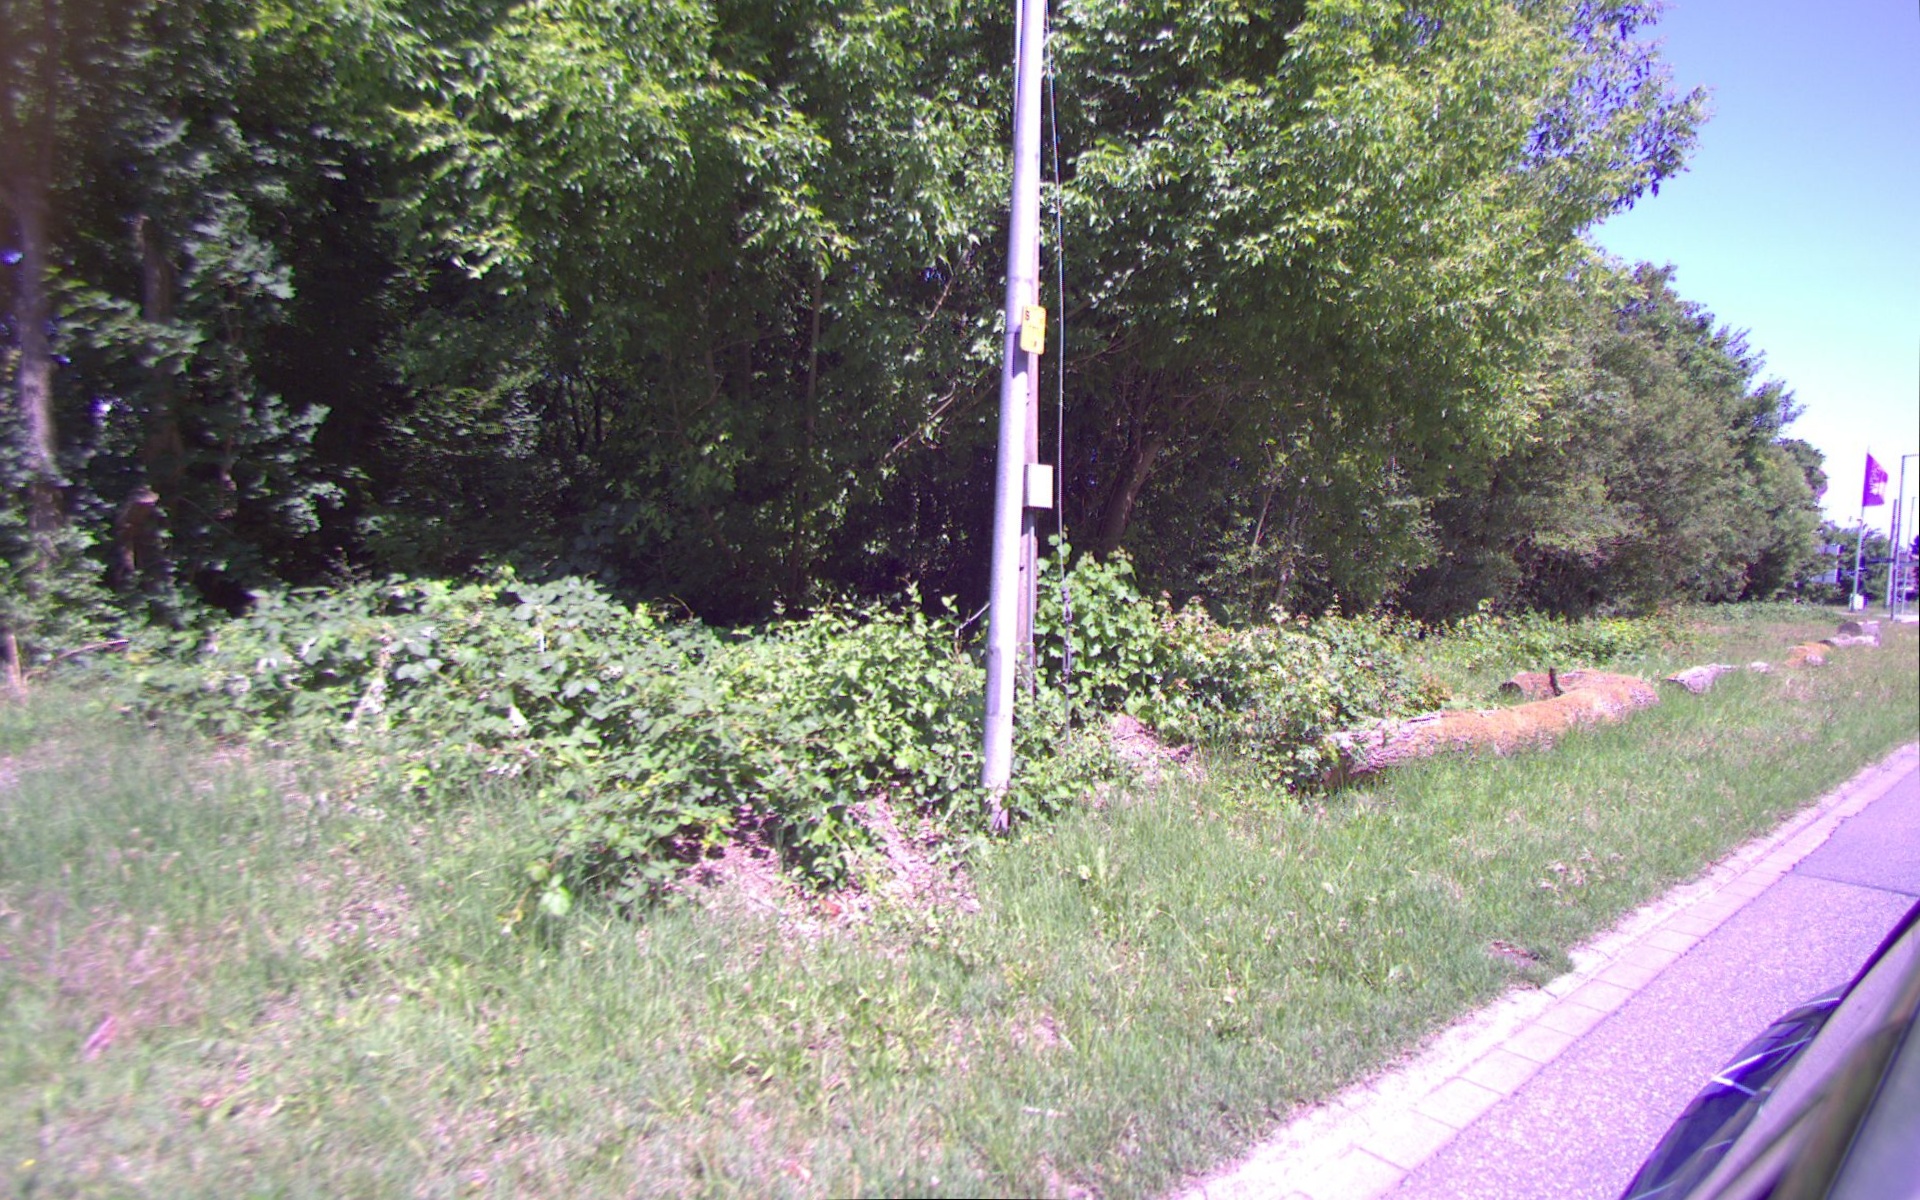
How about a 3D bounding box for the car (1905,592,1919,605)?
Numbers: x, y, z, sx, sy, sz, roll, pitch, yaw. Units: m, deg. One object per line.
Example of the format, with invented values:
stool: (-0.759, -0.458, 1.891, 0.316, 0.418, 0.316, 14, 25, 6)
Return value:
car: (137.155, -0.162, 143.279, 1.959, 1.802, 4.728, 2, 2, -8)
